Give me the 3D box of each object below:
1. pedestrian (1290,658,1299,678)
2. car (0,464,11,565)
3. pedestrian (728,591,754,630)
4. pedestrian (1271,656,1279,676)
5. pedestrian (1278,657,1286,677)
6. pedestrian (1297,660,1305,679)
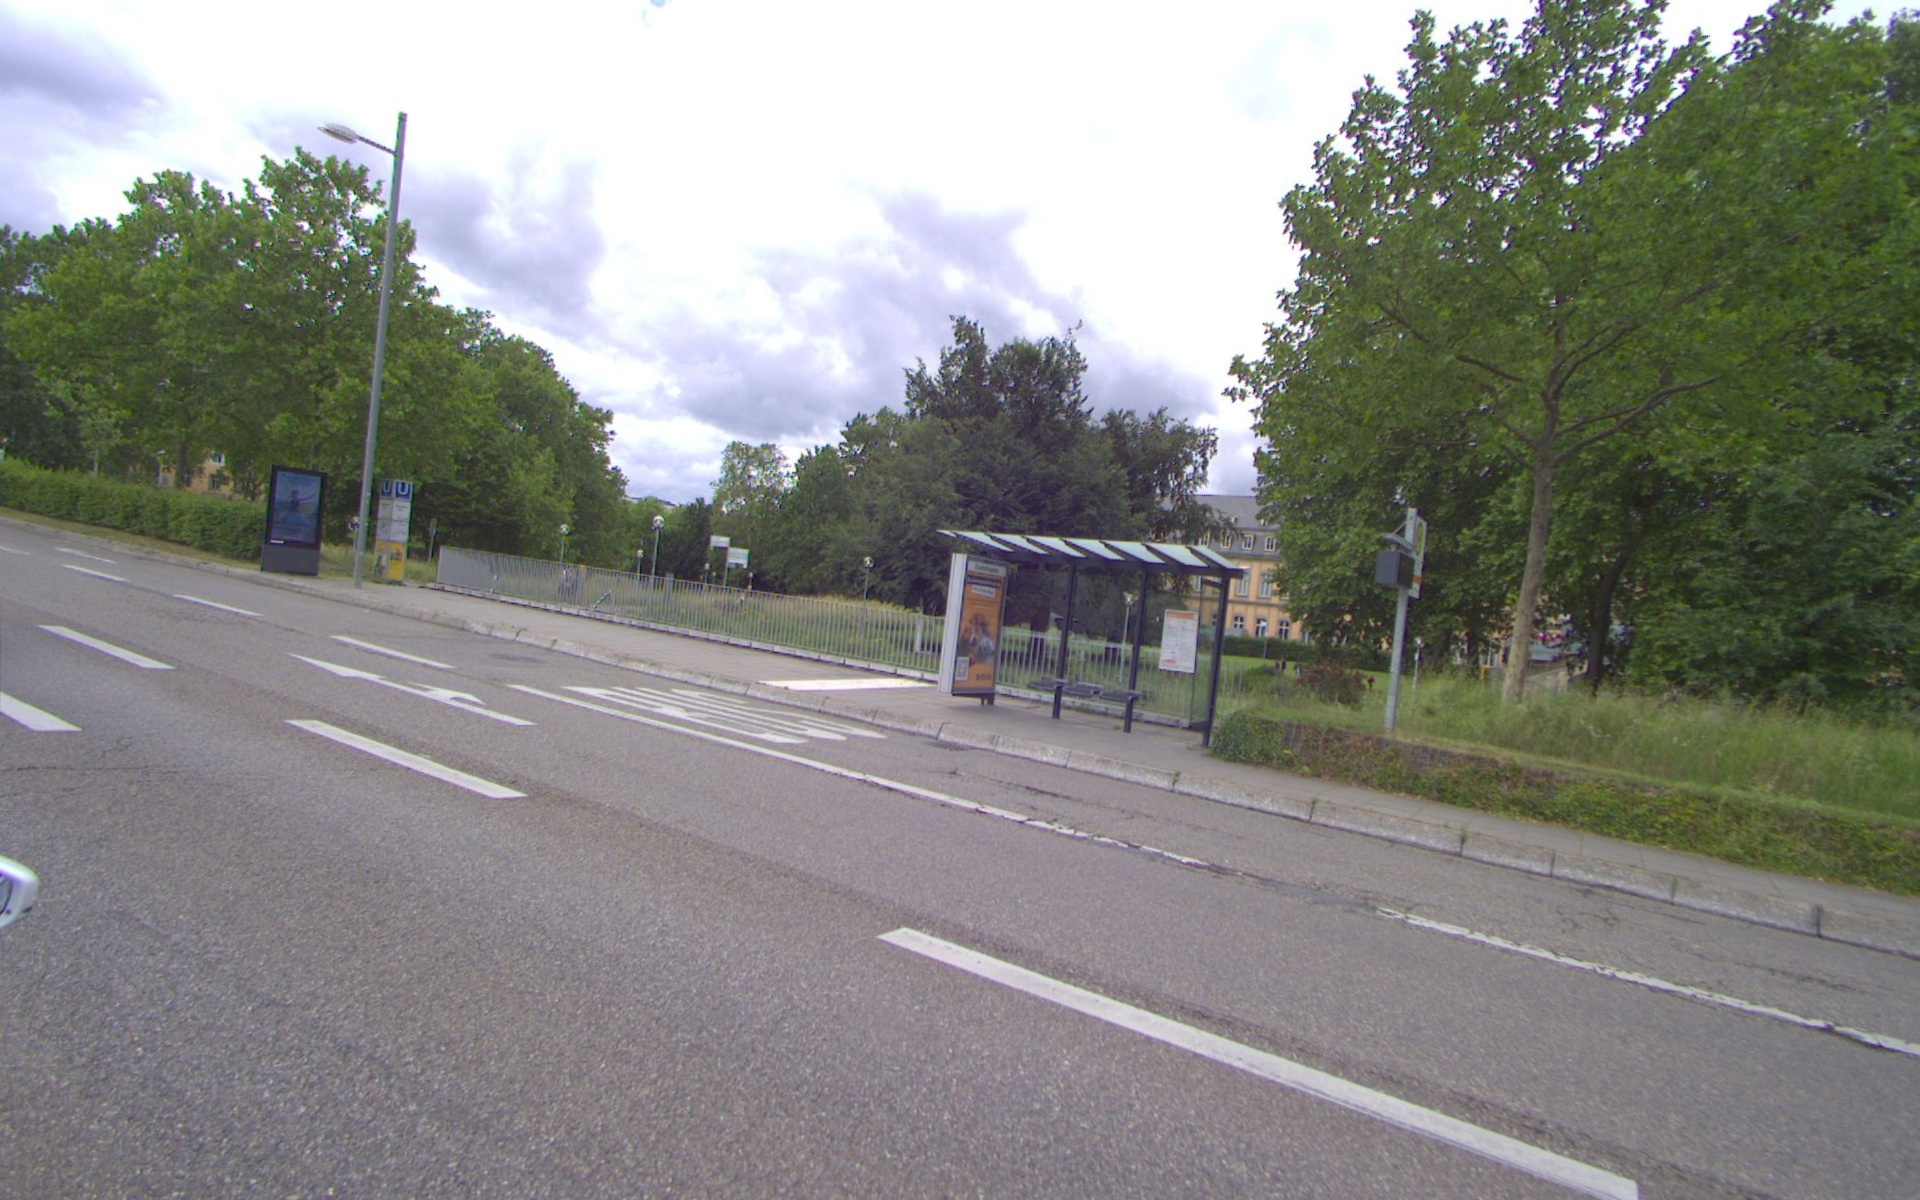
[{"bbox_3d":[30.603,6.259,92.051,0.460,1.756,0.405,6,-1,32],"label":"pedestrian"},{"bbox_3d":[-10.901,-0.677,9.368,4.416,1.673,1.929,7,0,33],"label":"car"},{"bbox_3d":[-9.750,0.469,44.781,0.653,1.619,0.675,9,-2,-43],"label":"pedestrian"},{"bbox_3d":[29.159,6.110,93.063,0.460,1.756,0.405,6,-1,32],"label":"pedestrian"},{"bbox_3d":[29.894,6.227,93.415,0.460,1.756,0.405,6,-1,32],"label":"pedestrian"},{"bbox_3d":[31.293,6.379,92.290,0.460,1.725,0.405,6,-1,32],"label":"pedestrian"}]
